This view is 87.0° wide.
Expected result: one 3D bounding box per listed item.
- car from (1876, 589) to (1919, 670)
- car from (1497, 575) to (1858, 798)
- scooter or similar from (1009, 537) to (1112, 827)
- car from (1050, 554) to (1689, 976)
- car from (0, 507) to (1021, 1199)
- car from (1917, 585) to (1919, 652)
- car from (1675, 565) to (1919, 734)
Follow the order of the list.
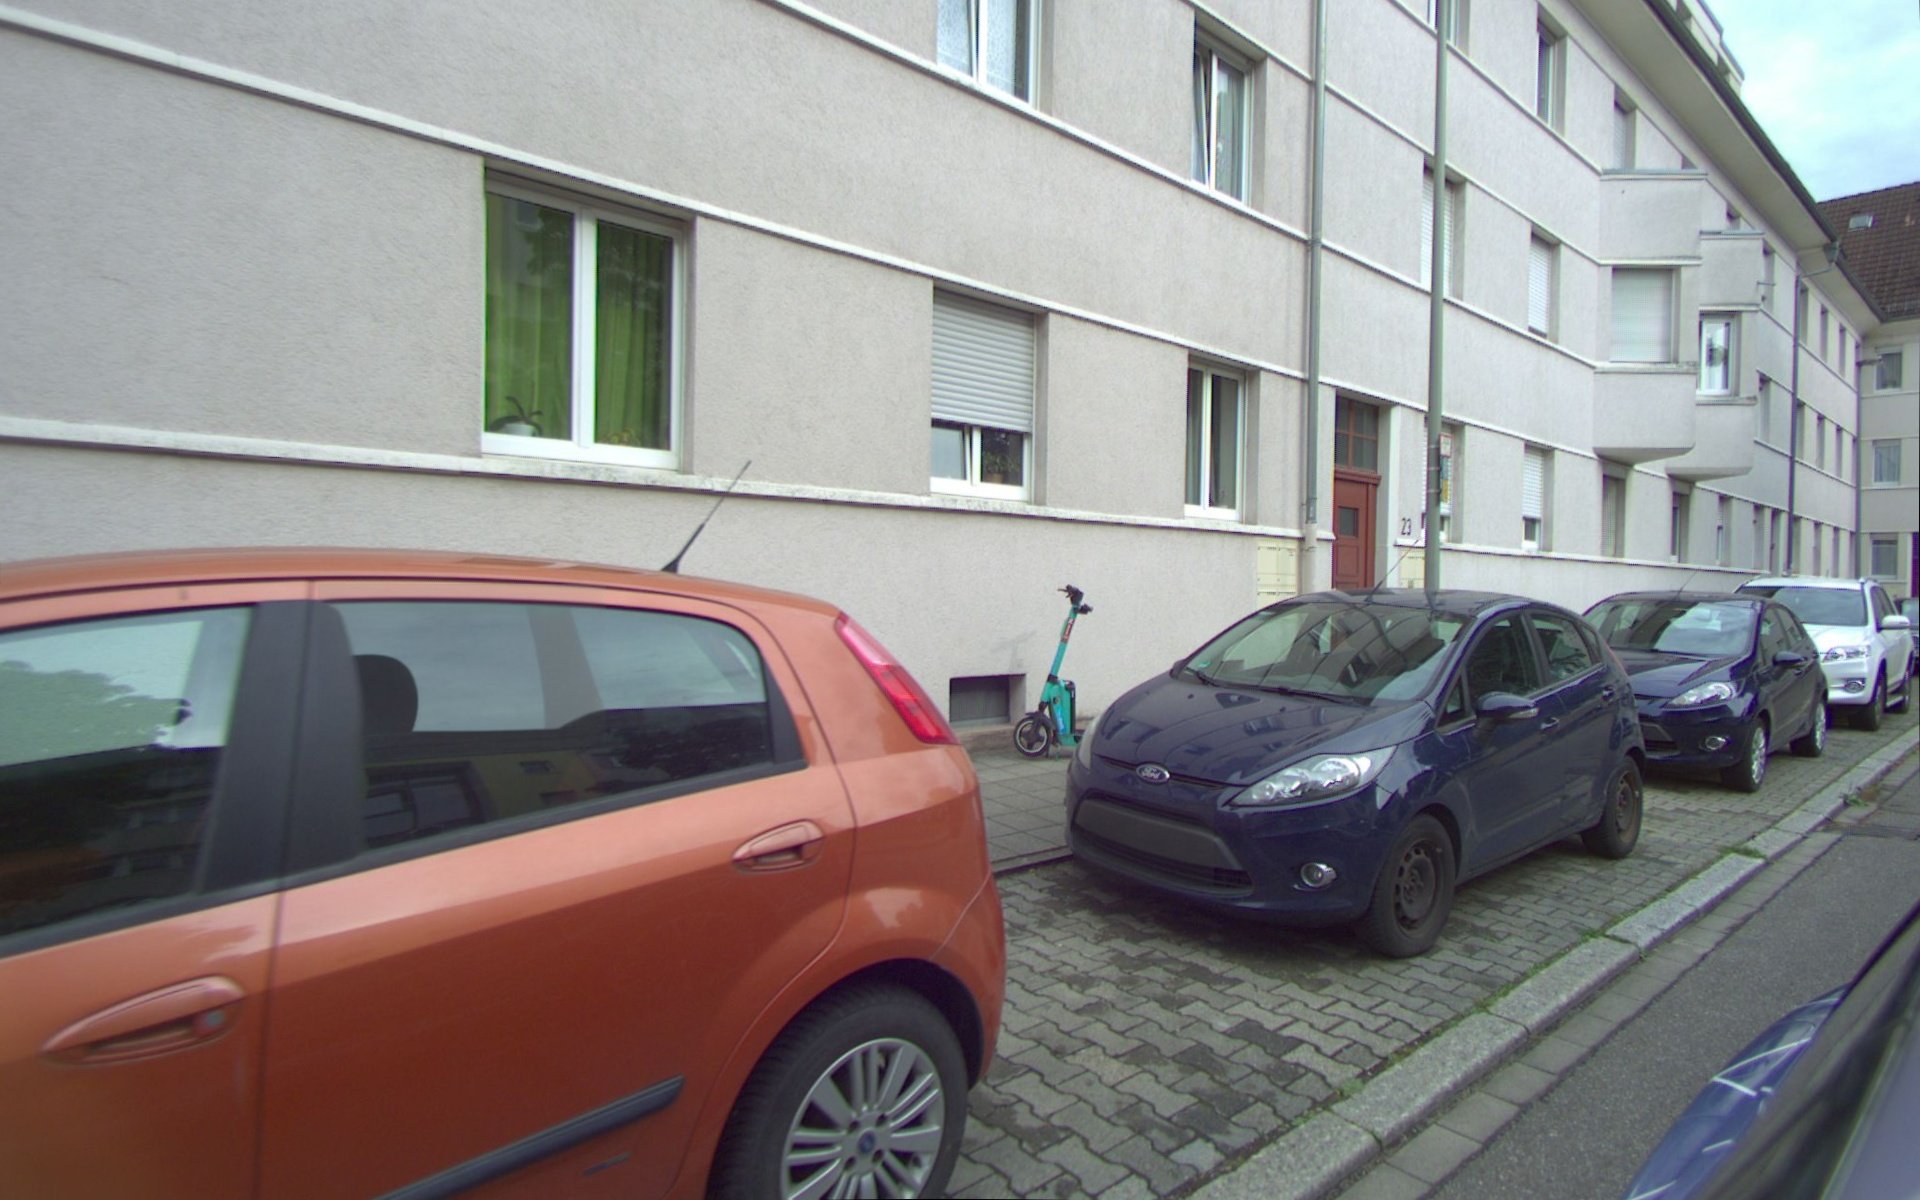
[{"bbox_3d":[19.055,0.550,19.372,4.864,1.438,1.748,0,2,-42],"label":"car"},{"bbox_3d":[6.248,0.567,8.664,3.801,1.497,1.571,0,1,-40],"label":"car"},{"bbox_3d":[0.719,0.577,7.332,0.665,2.040,0.346,-1,-2,-1],"label":"scooter or similar"},{"bbox_3d":[2.337,0.560,5.361,3.630,1.492,1.571,0,2,-39],"label":"car"},{"bbox_3d":[-1.853,0.631,1.664,3.758,1.544,1.700,0,2,-41],"label":"car"},{"bbox_3d":[24.118,0.461,23.976,4.009,1.544,1.760,0,2,-42],"label":"car"},{"bbox_3d":[10.464,0.482,12.441,4.216,1.694,1.845,0,2,-43],"label":"car"}]
